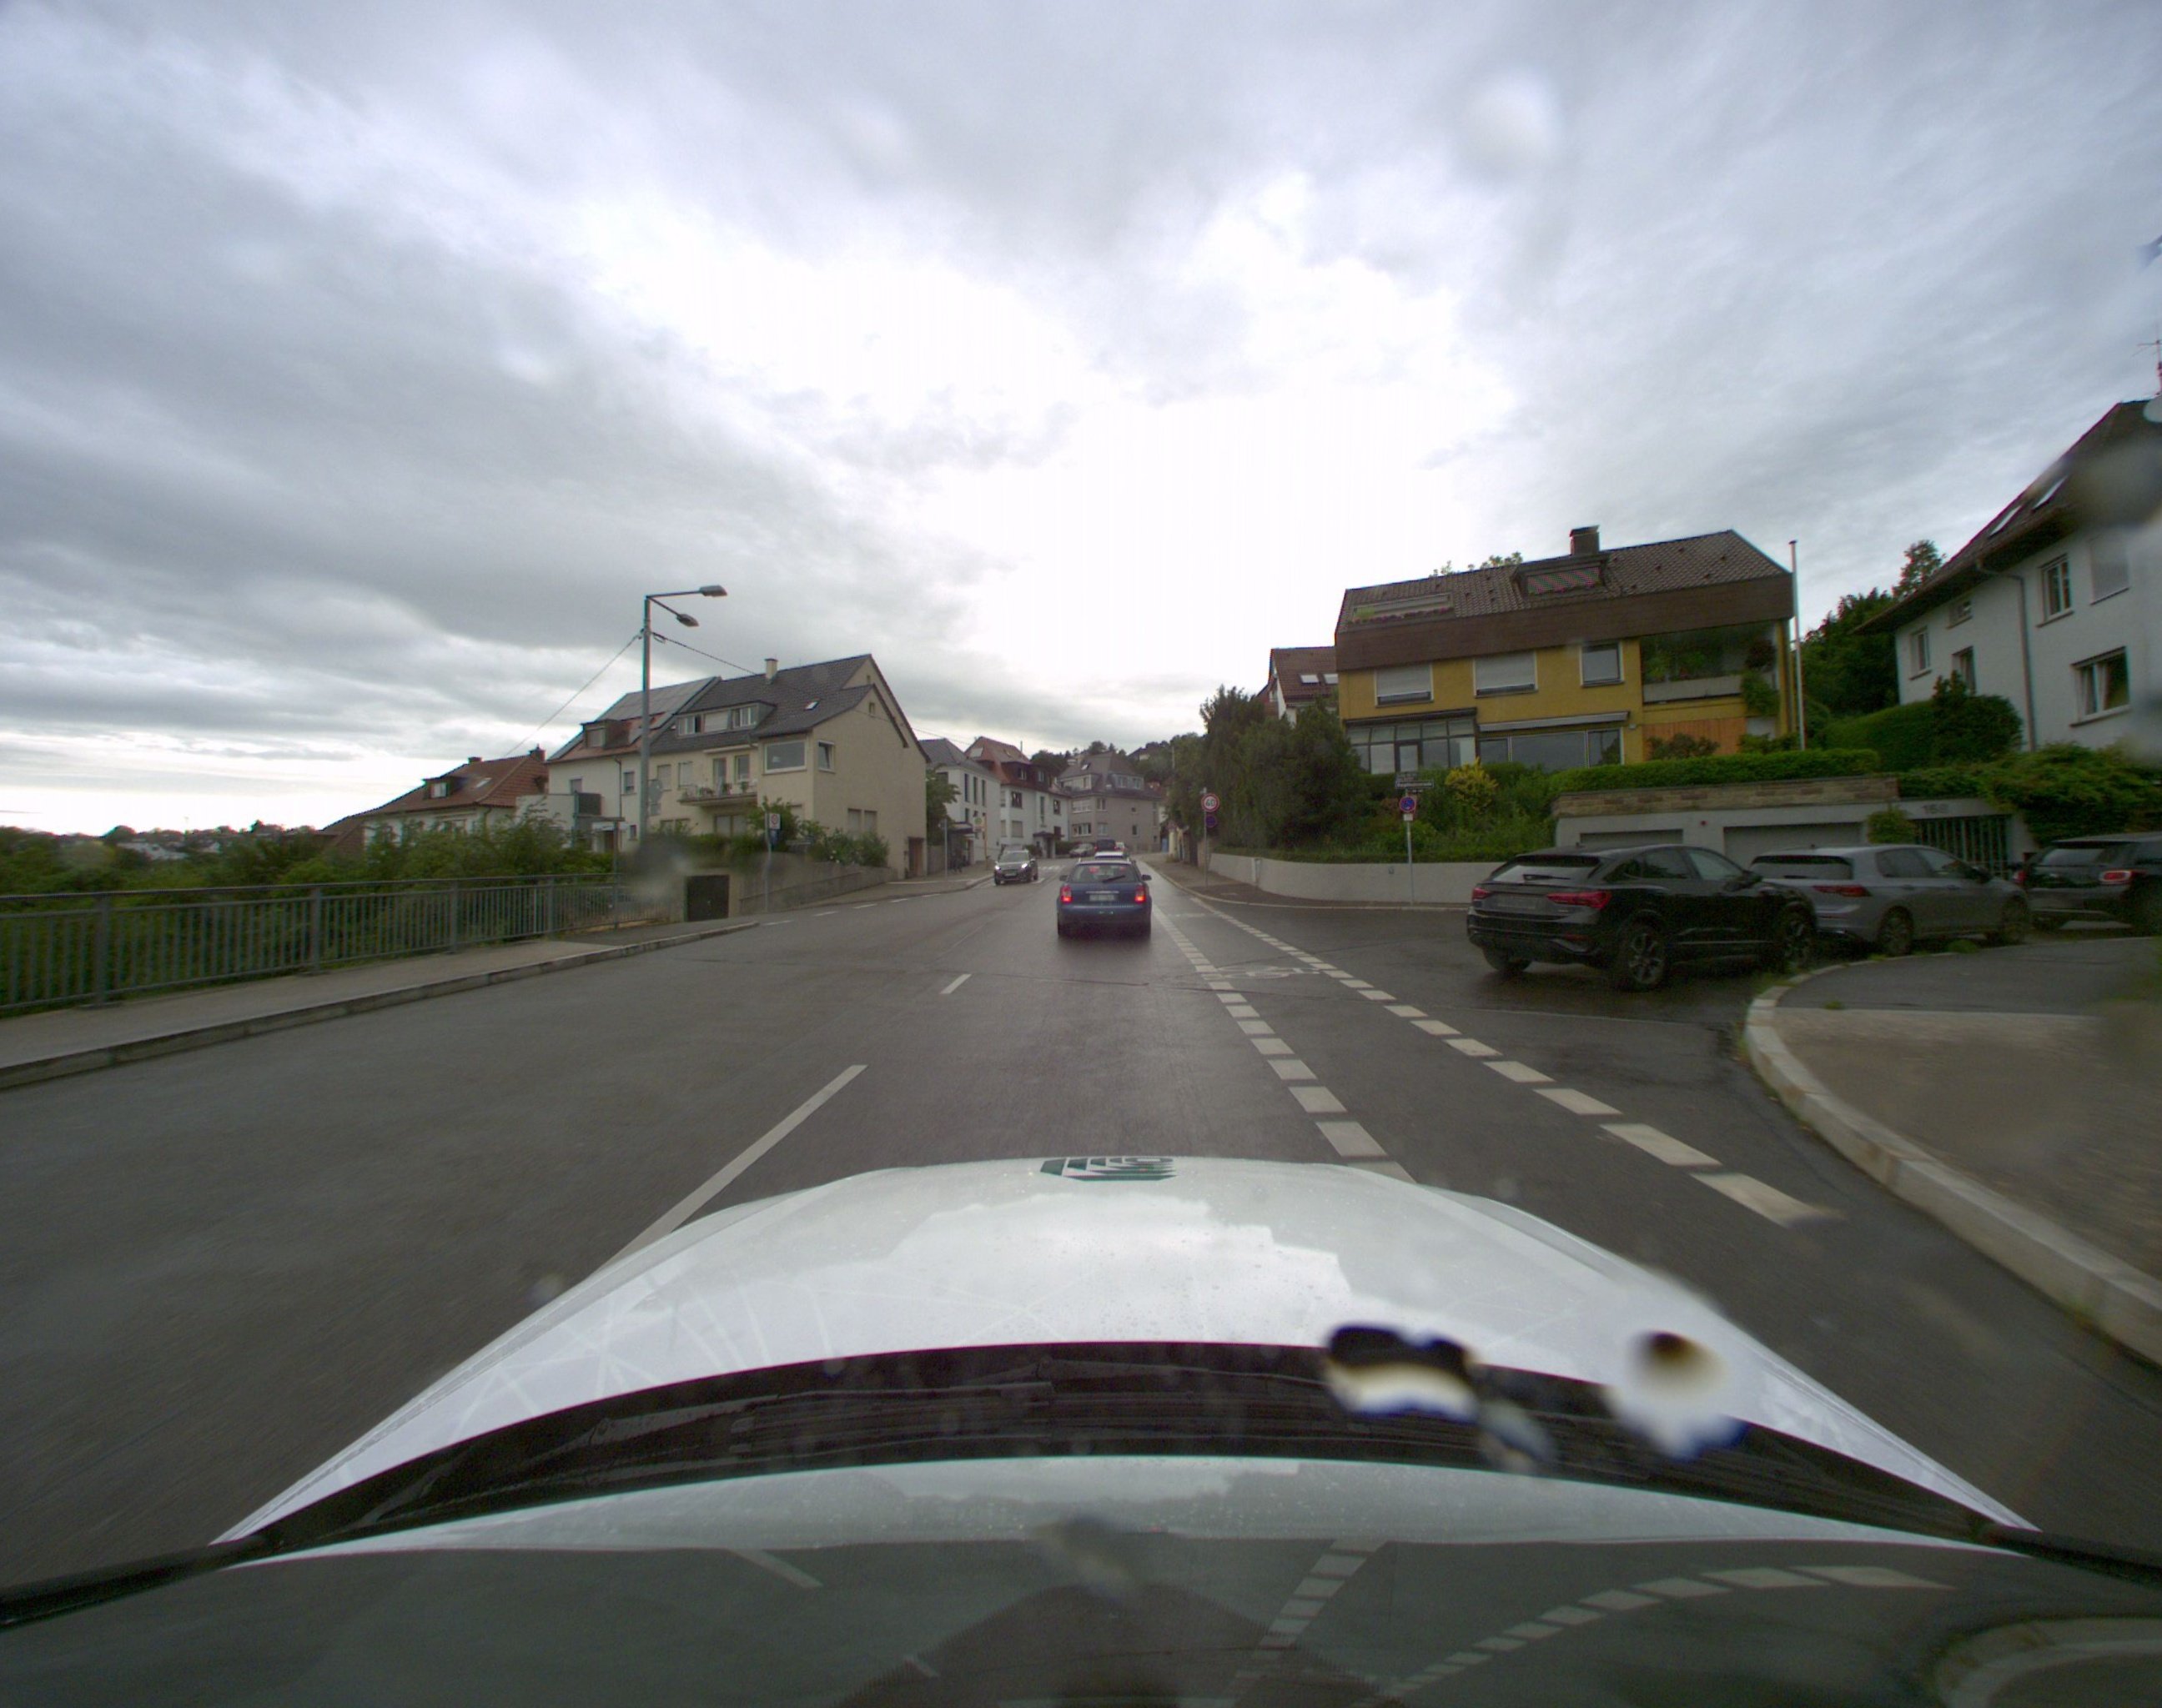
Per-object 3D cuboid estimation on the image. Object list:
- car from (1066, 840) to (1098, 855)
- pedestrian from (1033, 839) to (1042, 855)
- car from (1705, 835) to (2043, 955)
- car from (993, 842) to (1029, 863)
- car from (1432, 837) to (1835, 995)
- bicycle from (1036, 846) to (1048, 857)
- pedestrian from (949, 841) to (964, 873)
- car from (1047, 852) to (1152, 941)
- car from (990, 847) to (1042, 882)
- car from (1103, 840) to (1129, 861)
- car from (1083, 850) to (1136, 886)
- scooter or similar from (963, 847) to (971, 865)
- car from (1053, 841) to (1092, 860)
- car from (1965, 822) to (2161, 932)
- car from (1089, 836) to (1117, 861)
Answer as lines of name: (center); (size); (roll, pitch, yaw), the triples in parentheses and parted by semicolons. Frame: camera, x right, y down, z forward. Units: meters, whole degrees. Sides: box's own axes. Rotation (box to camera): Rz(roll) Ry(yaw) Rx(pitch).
car: (0.143, -0.670, 88.049); (1.819, 1.425, 4.254); (-3, 0, 24)
pedestrian: (-4.437, -0.695, 83.271); (0.488, 1.577, 0.953); (-2, 1, 20)
car: (11.144, 0.496, 11.481); (4.056, 1.425, 1.789); (-1, -1, -20)
car: (-5.316, -0.118, 62.519); (1.820, 1.485, 4.998); (-2, 1, 5)
car: (6.596, 0.587, 9.777); (4.204, 1.522, 1.986); (-1, 1, -21)
bicycle: (-3.940, -0.269, 83.192); (0.452, 1.067, 1.931); (-2, 1, 20)
pedestrian: (-7.366, 0.188, 48.253); (0.783, 1.857, 0.728); (0, 0, 1)
car: (0.414, 0.729, 16.082); (1.804, 1.439, 4.085); (0, 2, 2)
car: (-3.058, 0.477, 39.072); (1.725, 1.545, 4.006); (-3, 0, 5)
car: (3.090, -0.355, 71.887); (1.918, 1.706, 4.008); (-2, 1, 7)
car: (1.062, 0.521, 32.191); (1.807, 1.360, 3.996); (0, 0, -2)
scooter or similar: (-8.128, 0.146, 58.191); (0.336, 1.219, 1.123); (-1, 1, 3)
car: (-1.012, -0.409, 97.302); (3.948, 1.822, 2.013); (-7, -1, 30)
car: (16.110, 0.282, 12.195); (3.572, 1.489, 1.845); (-2, 1, 6)
car: (1.625, -0.399, 58.964); (1.921, 1.706, 4.002); (-2, 1, 2)
